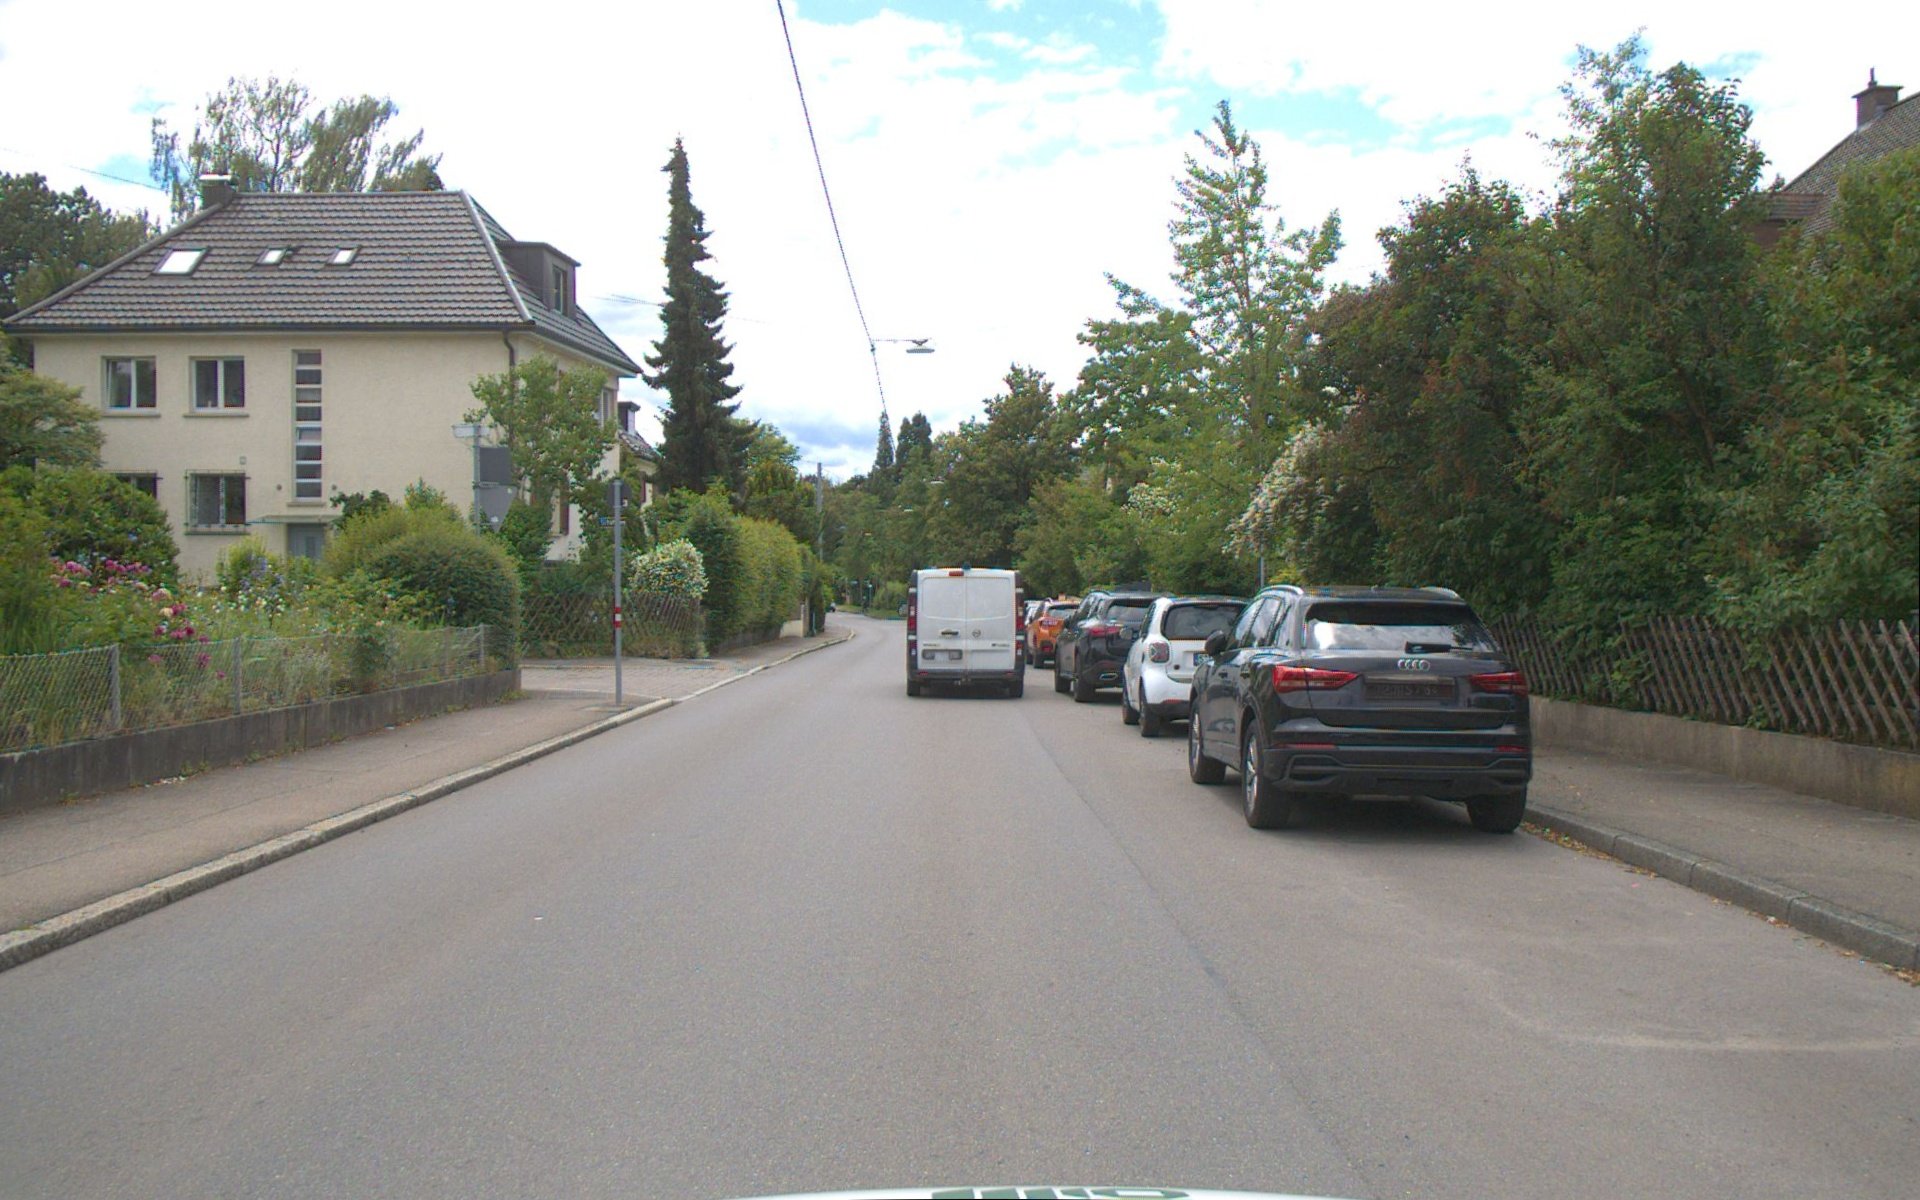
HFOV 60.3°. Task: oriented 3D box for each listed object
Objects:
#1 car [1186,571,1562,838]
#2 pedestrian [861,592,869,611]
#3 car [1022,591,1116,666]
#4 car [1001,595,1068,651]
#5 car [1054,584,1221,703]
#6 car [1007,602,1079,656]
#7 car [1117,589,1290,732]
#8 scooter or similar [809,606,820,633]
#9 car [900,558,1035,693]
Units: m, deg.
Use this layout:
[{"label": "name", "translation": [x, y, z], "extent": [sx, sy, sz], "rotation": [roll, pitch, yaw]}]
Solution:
[{"label": "car", "translation": [2.813, 0.638, 12.175], "extent": [1.764, 1.620, 4.141], "rotation": [0, 0, 0]}, {"label": "pedestrian", "translation": [-8.695, 0.148, 151.018], "extent": [0.684, 1.644, 0.714], "rotation": [1, 2, -8]}, {"label": "car", "translation": [2.553, 0.661, 39.711], "extent": [1.813, 1.655, 4.168], "rotation": [2, 0, -2]}, {"label": "car", "translation": [2.277, 0.706, 51.638], "extent": [1.792, 1.652, 4.491], "rotation": [1, 0, -1]}, {"label": "car", "translation": [2.684, 0.638, 25.966], "extent": [1.911, 1.655, 4.373], "rotation": [2, 0, -3]}, {"label": "car", "translation": [2.256, 0.791, 45.829], "extent": [1.681, 1.406, 4.235], "rotation": [1, 0, -1]}, {"label": "car", "translation": [2.779, 0.658, 19.424], "extent": [1.566, 1.537, 3.013], "rotation": [0, 0, 0]}, {"label": "scooter or similar", "translation": [-6.557, 0.859, 74.592], "extent": [0.384, 1.191, 1.269], "rotation": [1, 0, -2]}, {"label": "car", "translation": [0.035, 0.362, 26.962], "extent": [1.891, 1.998, 4.399], "rotation": [1, 0, -3]}]
